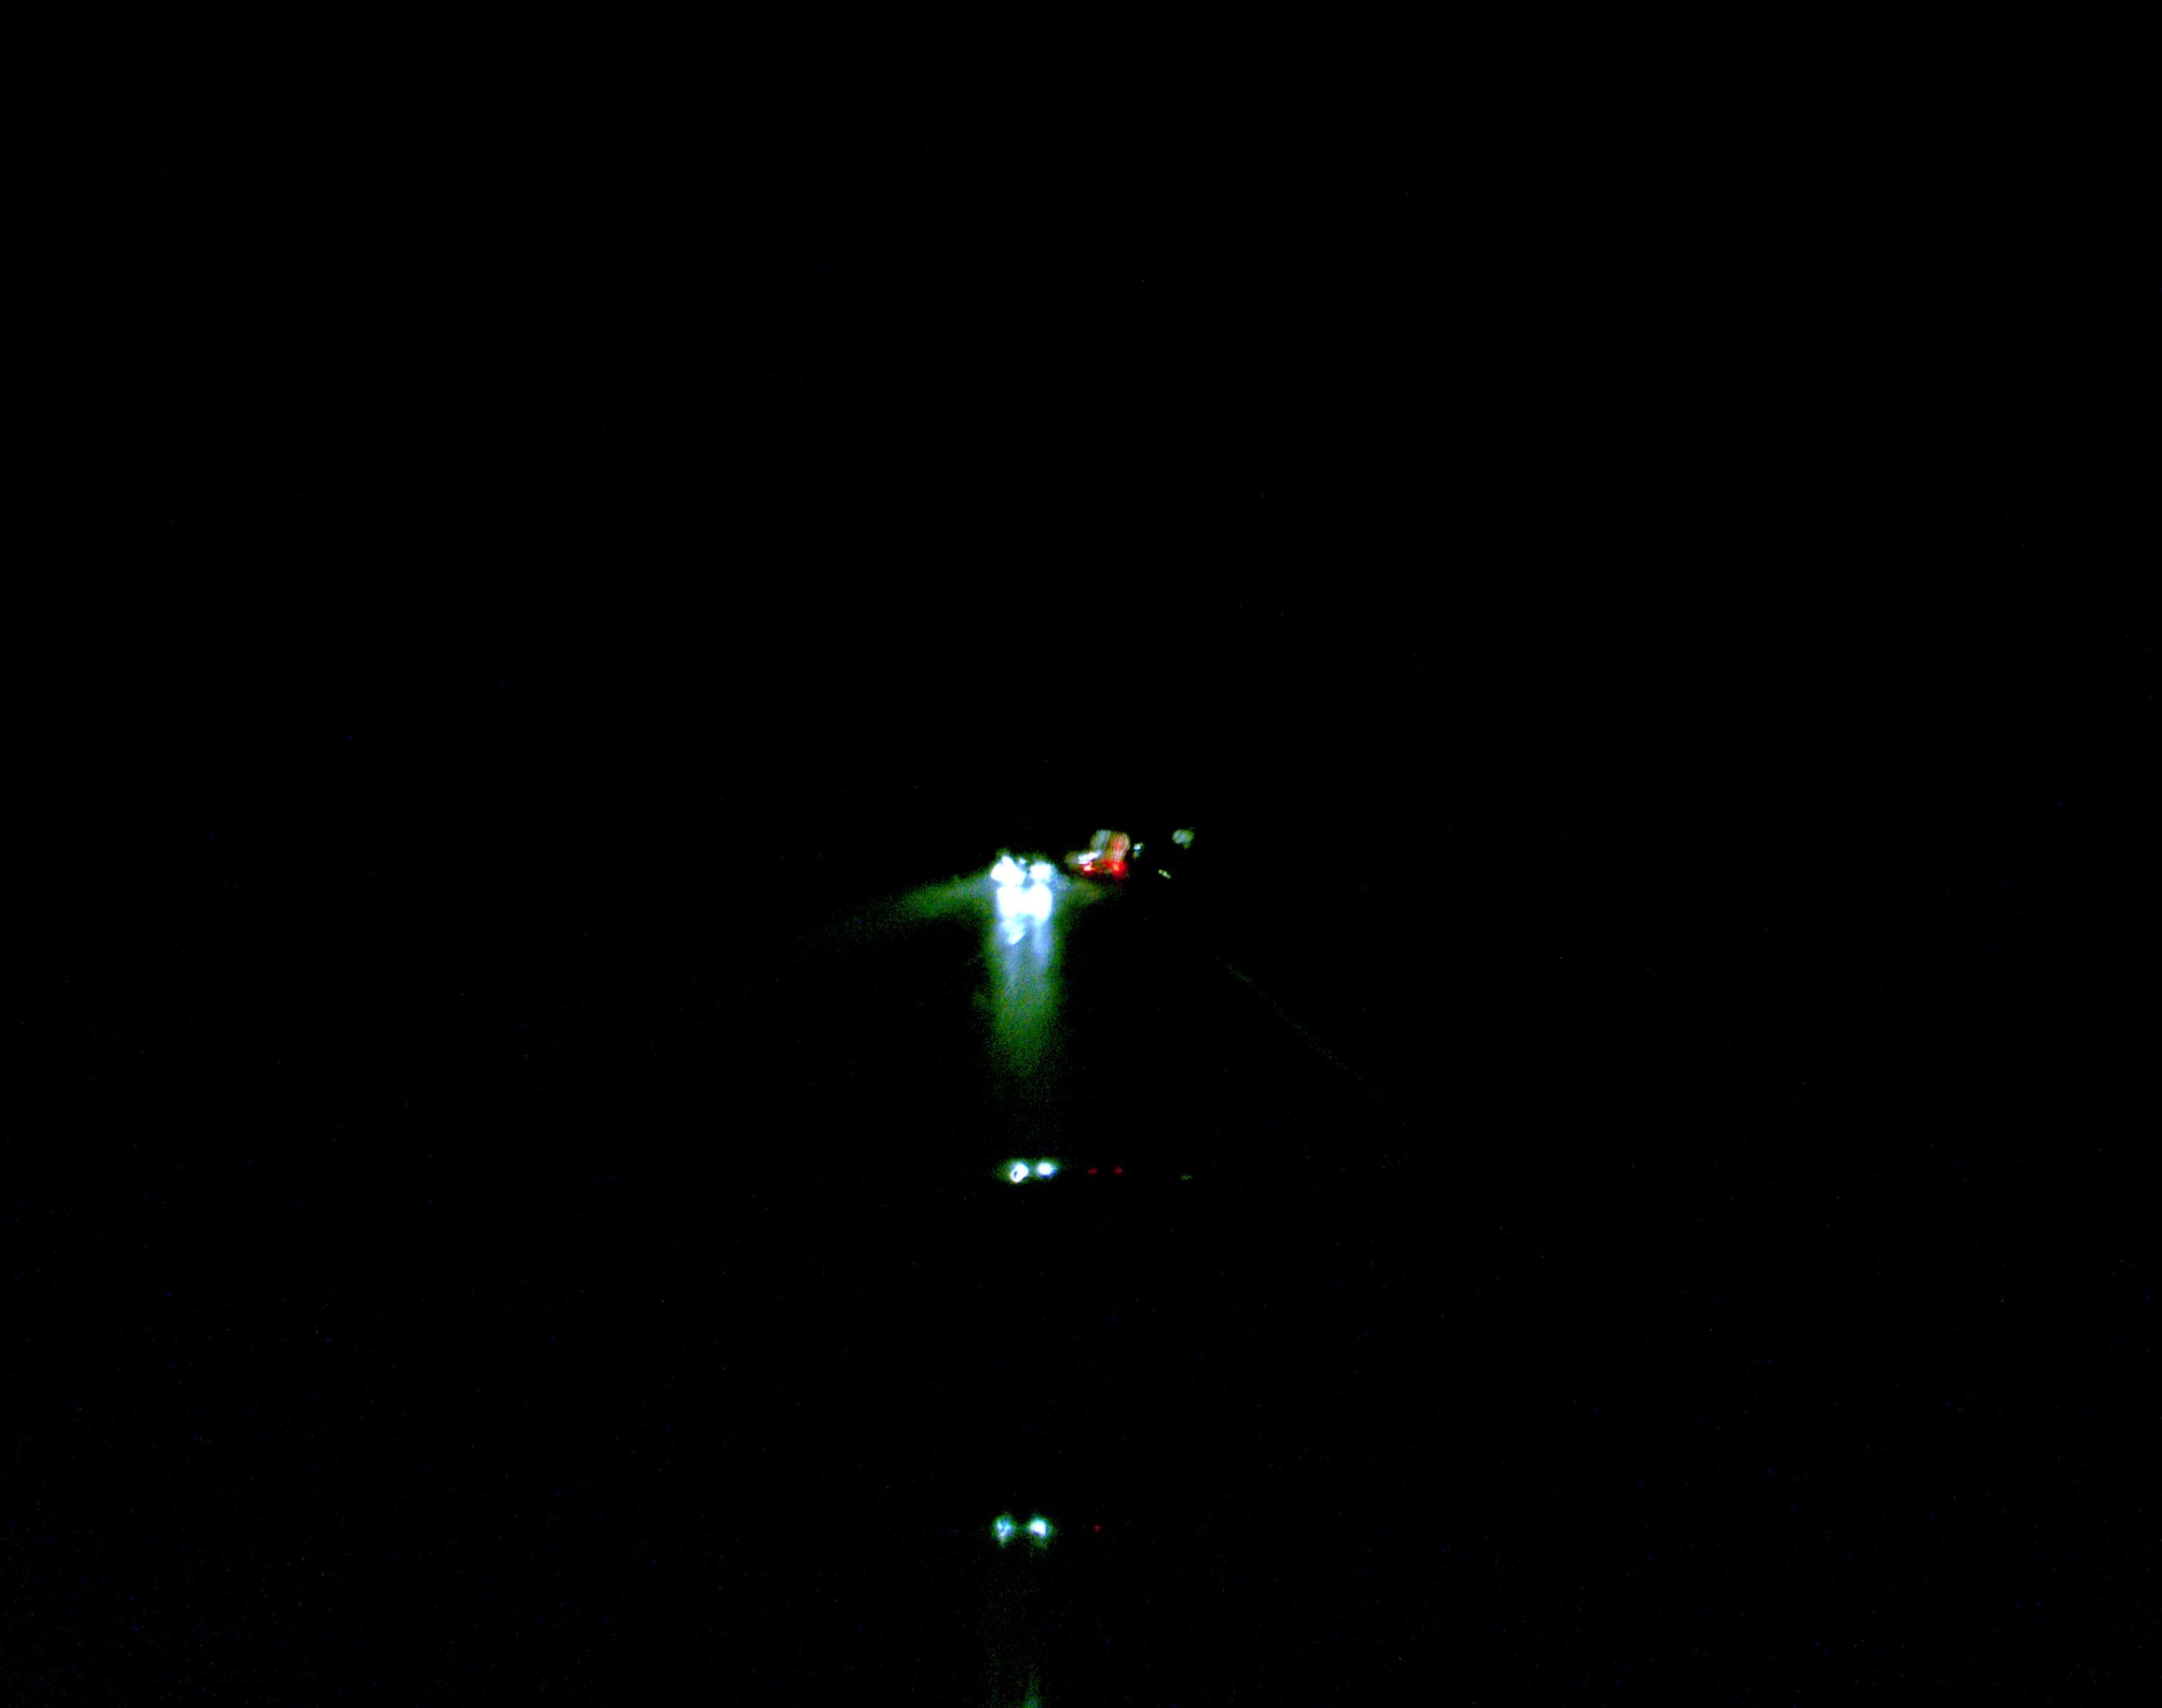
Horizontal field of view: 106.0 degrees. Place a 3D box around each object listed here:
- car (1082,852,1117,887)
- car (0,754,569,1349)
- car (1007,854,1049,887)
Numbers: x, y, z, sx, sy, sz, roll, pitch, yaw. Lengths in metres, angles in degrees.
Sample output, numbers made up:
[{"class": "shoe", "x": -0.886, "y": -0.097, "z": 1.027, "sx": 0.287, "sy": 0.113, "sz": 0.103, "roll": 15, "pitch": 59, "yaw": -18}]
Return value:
[{"class": "car", "x": 1.018, "y": 0.802, "z": 44.784, "sx": 1.836, "sy": 1.740, "sz": 4.001, "roll": 0, "pitch": 1, "yaw": 1}, {"class": "car", "x": -4.358, "y": 0.628, "z": 2.994, "sx": 1.985, "sy": 1.860, "sz": 4.444, "roll": 0, "pitch": -1, "yaw": 2}, {"class": "car", "x": -2.915, "y": 0.887, "z": 45.529, "sx": 1.939, "sy": 1.728, "sz": 4.001, "roll": 0, "pitch": -1, "yaw": 1}]
